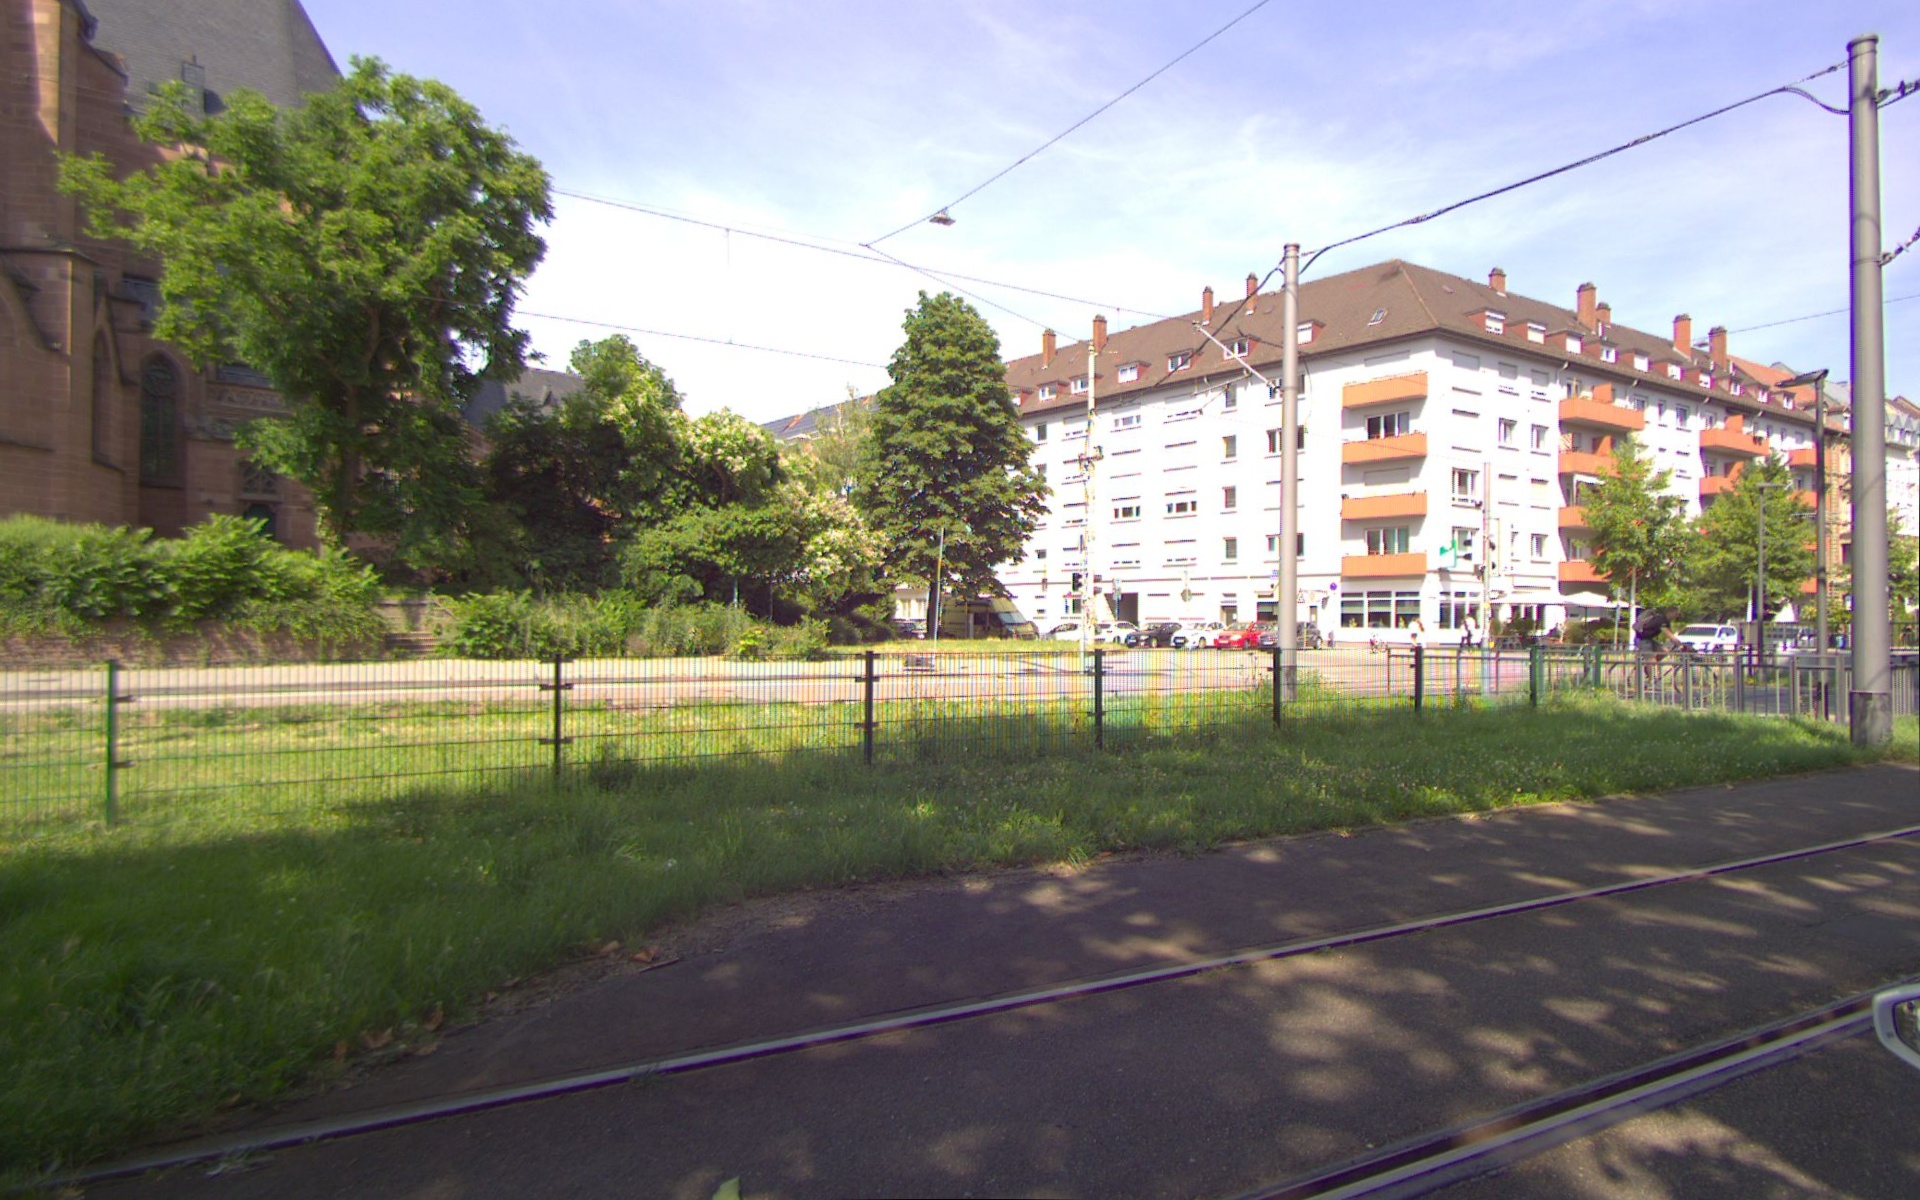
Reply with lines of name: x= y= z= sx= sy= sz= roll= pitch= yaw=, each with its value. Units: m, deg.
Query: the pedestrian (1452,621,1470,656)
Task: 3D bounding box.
pedestrian: x=22.878 y=1.751 z=45.870 sx=0.679 sy=1.593 sz=0.544 roll=0 pitch=-1 yaw=36

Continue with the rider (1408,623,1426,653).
rider: x=21.955 y=1.807 z=48.271 sx=0.616 sy=1.442 sz=0.587 roll=0 pitch=-1 yaw=43

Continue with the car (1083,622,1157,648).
car: x=9.209 y=1.983 z=57.775 sx=4.129 sy=1.425 sz=1.917 roll=1 pitch=-1 yaw=-38

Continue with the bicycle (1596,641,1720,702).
bicycle: x=13.101 y=1.329 z=18.915 sx=1.894 sy=1.063 sz=0.531 roll=0 pitch=-1 yaw=34

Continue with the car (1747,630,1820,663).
car: x=39.790 y=2.239 z=48.505 sx=3.962 sy=1.518 sz=1.759 roll=1 pitch=-3 yaw=-36

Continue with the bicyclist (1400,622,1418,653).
bicyclist: x=21.391 y=1.776 z=47.817 sx=0.616 sy=1.442 sz=0.587 roll=0 pitch=-1 yaw=43

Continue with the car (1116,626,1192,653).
car: x=10.733 y=2.167 z=55.464 sx=4.129 sy=1.425 sz=1.917 roll=1 pitch=-1 yaw=-38

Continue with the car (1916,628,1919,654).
car: x=58.301 y=2.451 z=59.505 sx=3.962 sy=1.518 sz=1.758 roll=1 pitch=-1 yaw=-36

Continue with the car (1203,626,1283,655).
car: x=14.572 y=2.055 z=51.591 sx=4.129 sy=1.425 sz=1.917 roll=1 pitch=-2 yaw=-38

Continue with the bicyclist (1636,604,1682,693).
bicyclist: x=13.133 y=0.901 z=18.894 sx=0.683 sy=1.644 sz=0.623 roll=0 pitch=-1 yaw=34

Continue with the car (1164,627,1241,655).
car: x=13.025 y=2.175 z=53.903 sx=4.129 sy=1.425 sz=1.917 roll=1 pitch=-2 yaw=-38

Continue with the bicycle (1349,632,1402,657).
bicycle: x=19.509 y=2.072 z=47.141 sx=2.779 sy=1.152 sz=0.905 roll=1 pitch=-1 yaw=-34

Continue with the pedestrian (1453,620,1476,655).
pedestrian: x=23.291 y=1.731 z=46.356 sx=0.846 sy=1.593 sz=0.688 roll=0 pitch=-1 yaw=36

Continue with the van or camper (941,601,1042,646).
van or camper: x=1.678 y=1.276 z=55.205 sx=2.229 sy=2.360 sz=5.704 roll=1 pitch=-1 yaw=-42

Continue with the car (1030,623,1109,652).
car: x=5.513 y=1.884 z=50.823 sx=3.702 sy=1.425 sz=1.823 roll=-1 pitch=-2 yaw=44

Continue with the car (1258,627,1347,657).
car: x=16.744 y=2.016 z=49.001 sx=4.598 sy=1.394 sz=1.821 roll=1 pitch=-2 yaw=-36

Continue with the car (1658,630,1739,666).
car: x=32.486 y=2.082 z=44.170 sx=3.962 sy=1.518 sz=1.759 roll=1 pitch=-3 yaw=-36
